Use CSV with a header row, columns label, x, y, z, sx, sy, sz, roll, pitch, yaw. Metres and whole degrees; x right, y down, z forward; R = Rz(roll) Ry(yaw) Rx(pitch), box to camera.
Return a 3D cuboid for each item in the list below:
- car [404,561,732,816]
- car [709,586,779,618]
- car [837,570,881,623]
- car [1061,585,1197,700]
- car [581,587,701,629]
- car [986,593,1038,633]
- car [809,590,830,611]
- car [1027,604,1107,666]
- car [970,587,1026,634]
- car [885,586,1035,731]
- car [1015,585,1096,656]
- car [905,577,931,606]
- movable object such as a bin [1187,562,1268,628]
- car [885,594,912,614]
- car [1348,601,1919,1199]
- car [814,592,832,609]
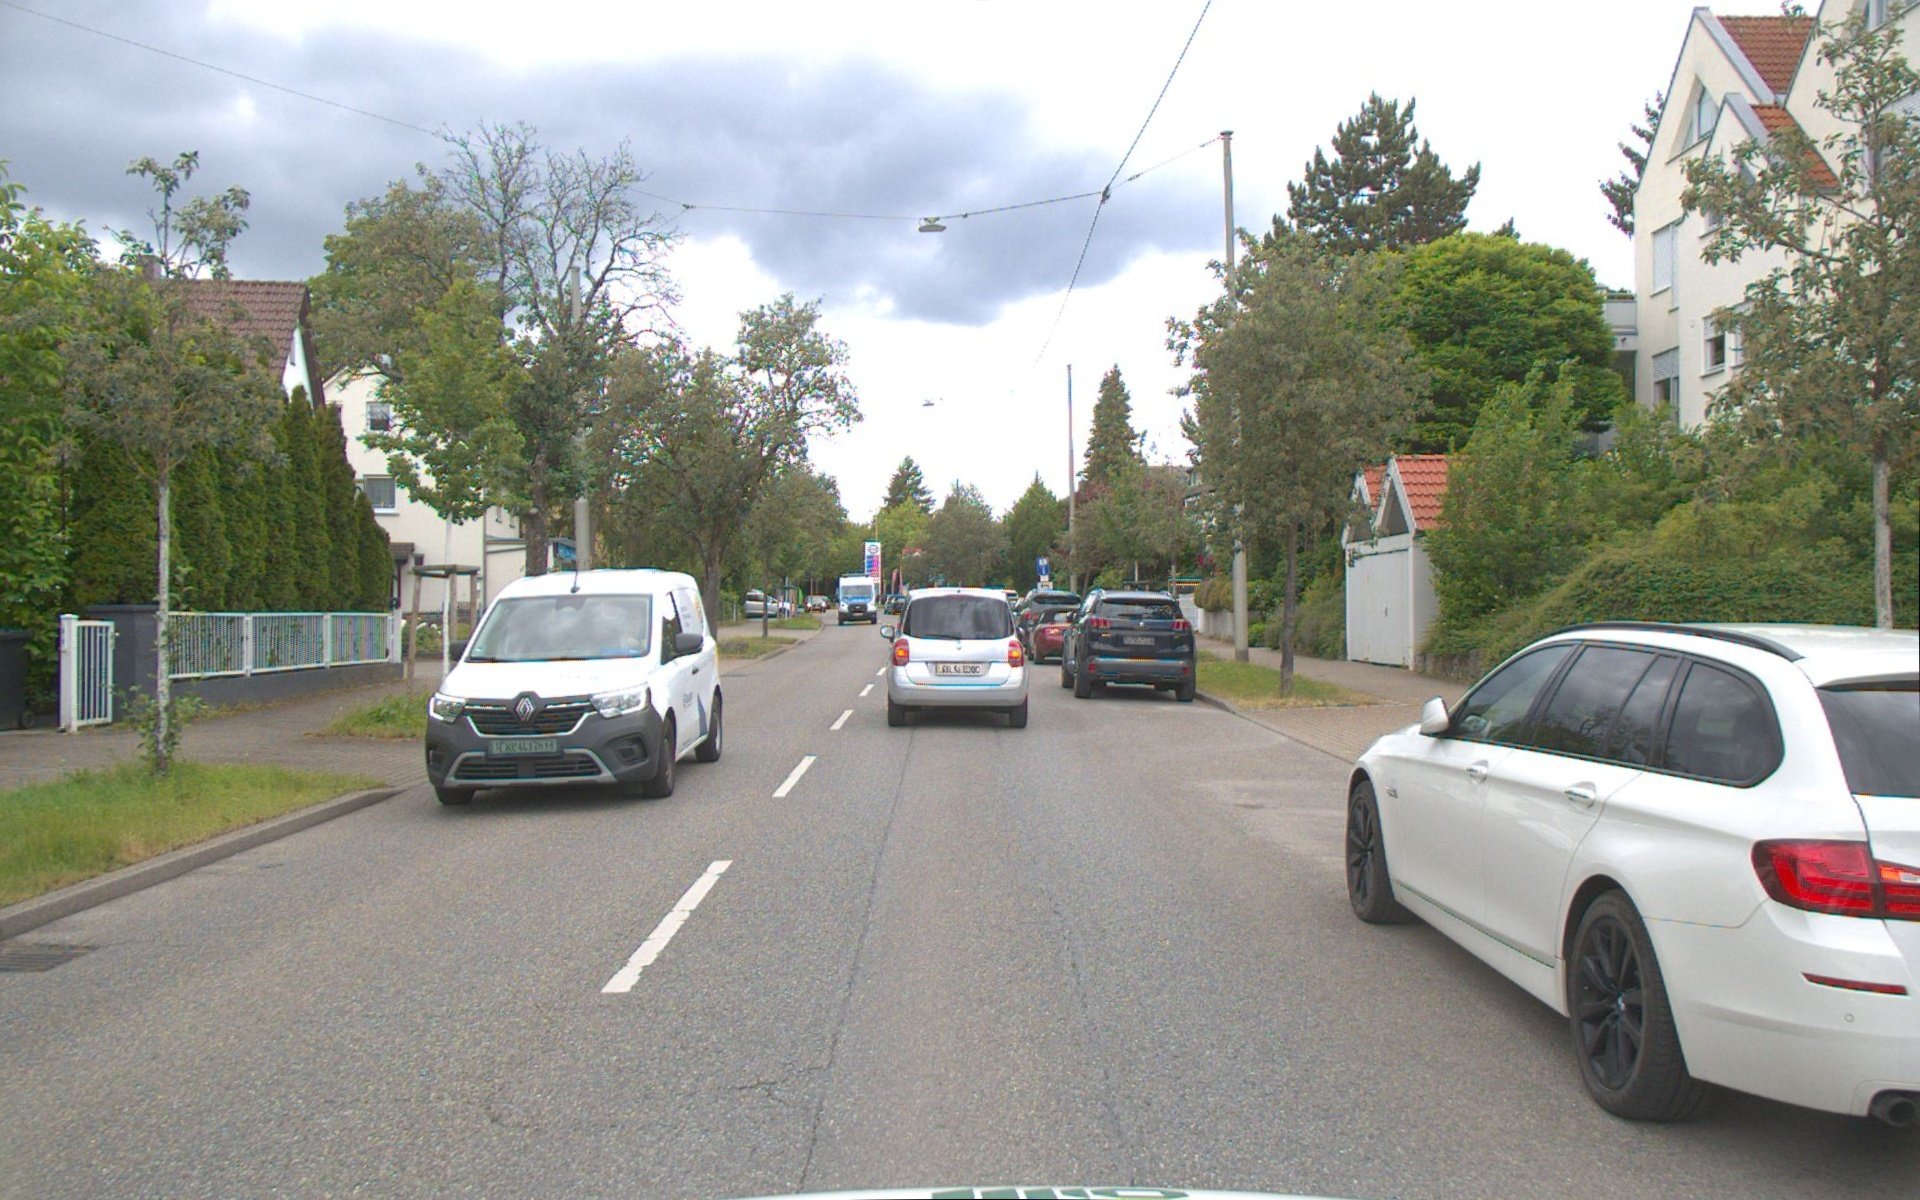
label,x,y,z,sx,sy,sz,roll,pitch,yaw
car,-3.094,0.617,13.964,1.759,1.782,4.298,-1,0,-1
car,-12.875,0.097,98.775,4.006,1.735,1.746,2,0,-5
car,-5.270,-0.178,86.853,2.032,2.627,5.298,-2,0,-2
car,2.589,0.620,26.159,1.653,1.637,4.108,1,0,-1
car,-11.762,0.310,61.224,4.198,1.392,1.813,2,-1,-8
car,1.958,0.486,63.106,1.528,1.468,3.503,1,0,-5
car,-12.183,0.003,143.131,1.799,1.743,3.996,-2,0,-5
car,2.381,0.765,37.678,1.451,1.257,3.883,2,0,-1
car,1.525,0.414,68.178,1.764,1.809,4.700,1,0,-5
car,-0.004,0.638,20.083,1.645,1.587,3.511,1,0,0
car,2.517,0.520,44.667,1.793,1.741,4.548,2,0,-1
car,-4.477,-0.889,175.218,2.238,2.962,5.271,1,0,-7
movable object such as a bin,8.638,-0.147,53.499,2.266,2.049,1.341,1,0,-6
car,-4.835,0.282,129.165,1.664,1.532,3.964,0,0,-9
car,2.832,0.781,6.158,1.659,1.479,4.403,1,0,-1
car,-14.470,0.044,174.134,1.799,1.743,3.996,-2,0,-5
